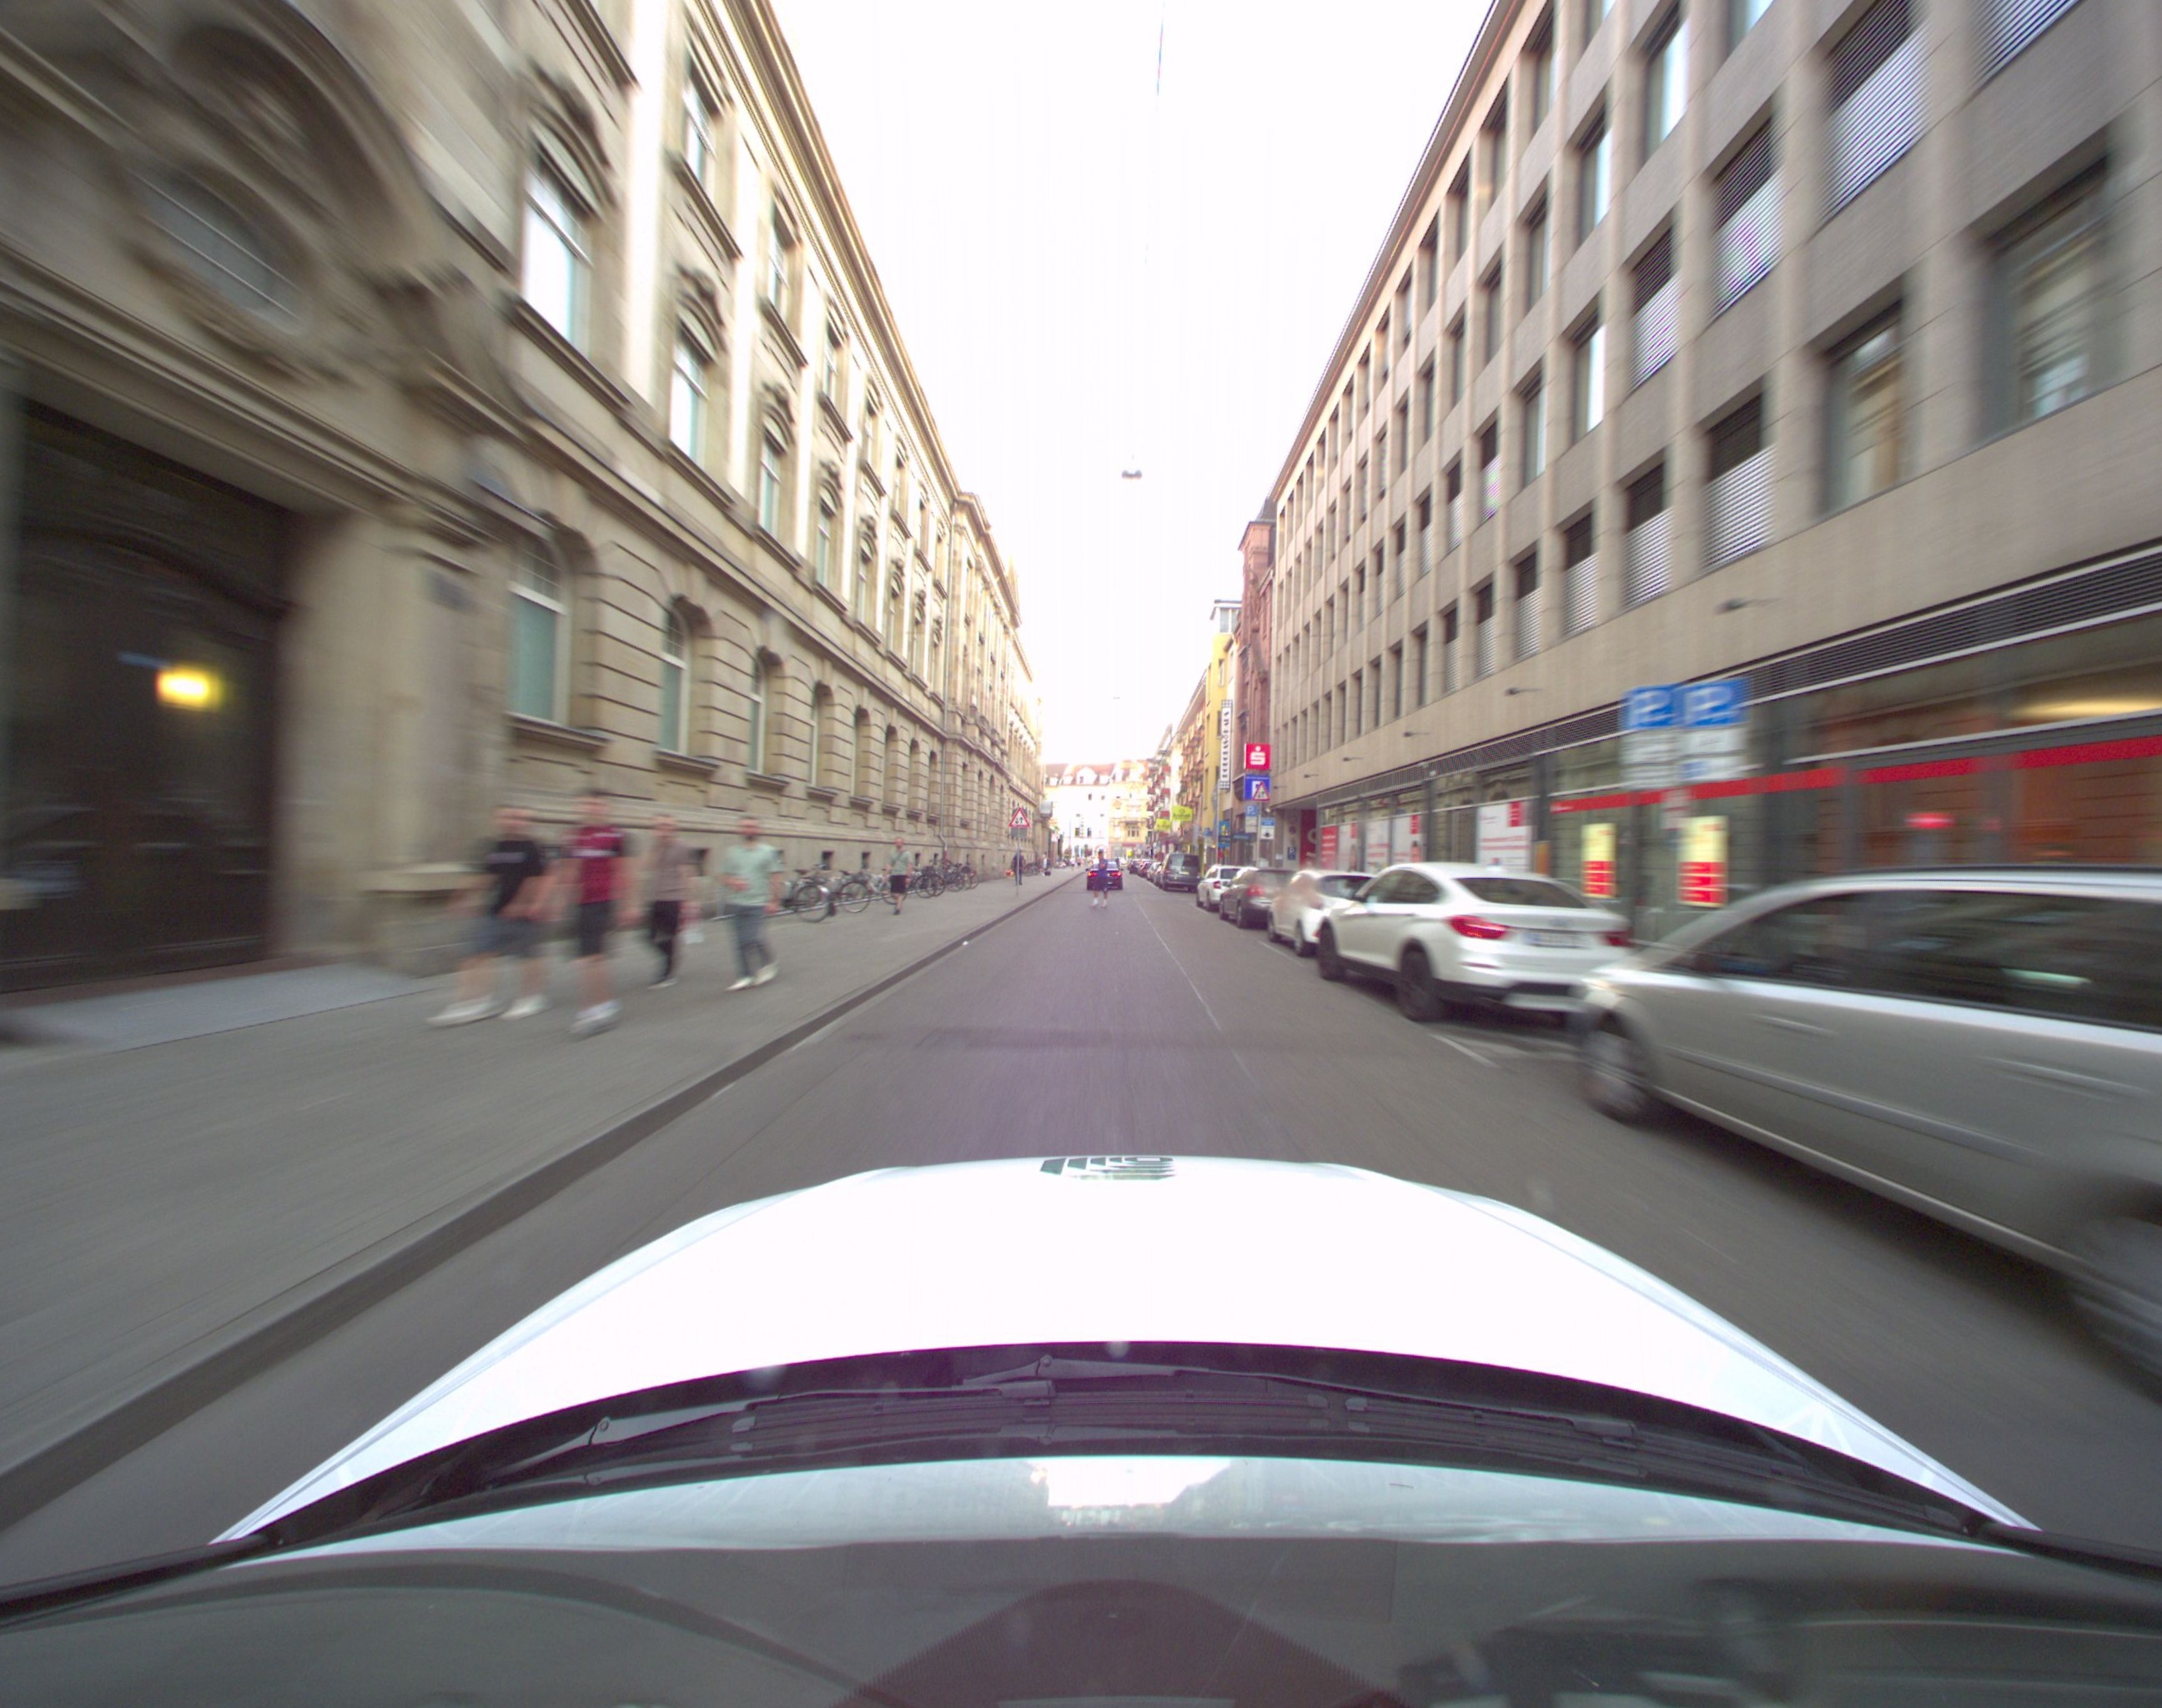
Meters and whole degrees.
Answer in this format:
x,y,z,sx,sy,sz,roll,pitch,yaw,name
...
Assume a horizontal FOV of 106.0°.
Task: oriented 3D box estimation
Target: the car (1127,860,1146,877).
x,y,z,sx,sy,sz,roll,pitch,yaw,name
6.029,1.534,88.062,1.785,1.610,4.494,4,0,6,car

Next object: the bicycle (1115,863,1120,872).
x,y,z,sx,sy,sz,roll,pitch,yaw,name
4.861,1.791,108.400,0.534,1.107,1.802,2,-1,4,bicycle

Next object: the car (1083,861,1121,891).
x,y,z,sx,sy,sz,roll,pitch,yaw,name
1.119,1.077,41.716,1.758,1.375,4.793,2,0,2,car

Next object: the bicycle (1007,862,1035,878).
x,y,z,sx,sy,sz,roll,pitch,yaw,name
-4.293,1.138,58.562,1.930,1.061,0.620,3,-1,0,bicycle

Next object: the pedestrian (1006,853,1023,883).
x,y,z,sx,sy,sz,roll,pitch,yaw,name
-3.952,0.823,48.681,0.825,1.746,0.769,4,0,2,pedestrian

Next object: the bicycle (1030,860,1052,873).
x,y,z,sx,sy,sz,roll,pitch,yaw,name
-3.821,1.207,77.952,1.939,1.061,0.617,5,-1,-14,bicycle

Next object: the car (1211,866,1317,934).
x,y,z,sx,sy,sz,roll,pitch,yaw,name
4.511,1.073,20.709,1.651,1.448,4.445,3,-1,0,car

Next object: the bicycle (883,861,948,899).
x,y,z,sx,sy,sz,roll,pitch,yaw,name
-5.334,0.838,26.313,1.934,1.078,0.729,4,-1,-6,bicycle

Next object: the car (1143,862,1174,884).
x,y,z,sx,sy,sz,roll,pitch,yaw,name
5.772,1.397,60.984,1.686,1.411,4.637,4,0,-1,car

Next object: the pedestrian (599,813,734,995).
x,y,z,sx,sy,sz,roll,pitch,yaw,name
-4.106,0.475,8.141,0.726,1.668,0.859,5,0,4,pedestrian

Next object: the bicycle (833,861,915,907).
x,y,z,sx,sy,sz,roll,pitch,yaw,name
-5.480,0.787,21.638,1.932,1.078,0.730,4,-1,-2,bicycle

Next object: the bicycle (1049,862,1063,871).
x,y,z,sx,sy,sz,roll,pitch,yaw,name
-3.254,1.663,106.372,1.787,1.107,0.500,2,-1,1,bicycle

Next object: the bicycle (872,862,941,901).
x,y,z,sx,sy,sz,roll,pitch,yaw,name
-5.356,0.843,25.124,1.934,1.078,0.729,4,-1,-6,bicycle

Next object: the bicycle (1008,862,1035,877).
x,y,z,sx,sy,sz,roll,pitch,yaw,name
-4.371,1.136,59.812,1.933,1.061,0.619,3,-1,-5,bicycle

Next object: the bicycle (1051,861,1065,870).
x,y,z,sx,sy,sz,roll,pitch,yaw,name
-3.115,1.534,108.895,1.786,1.107,0.501,2,-1,4,bicycle

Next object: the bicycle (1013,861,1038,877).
x,y,z,sx,sy,sz,roll,pitch,yaw,name
-4.212,1.155,62.029,1.791,1.108,0.499,3,-1,-5,bicycle

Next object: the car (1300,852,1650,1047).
x,y,z,sx,sy,sz,roll,pitch,yaw,name
4.174,0.886,9.679,1.770,1.666,4.811,3,-1,0,car

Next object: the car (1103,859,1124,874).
x,y,z,sx,sy,sz,roll,pitch,yaw,name
3.345,1.226,83.797,1.868,1.473,4.006,1,0,6,car

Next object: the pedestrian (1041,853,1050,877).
x,y,z,sx,sy,sz,roll,pitch,yaw,name
-2.778,0.850,63.399,0.587,1.851,0.753,3,-1,-4,pedestrian

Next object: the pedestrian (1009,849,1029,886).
x,y,z,sx,sy,sz,roll,pitch,yaw,name
-3.070,0.661,40.199,0.806,1.750,0.969,3,-1,2,pedestrian

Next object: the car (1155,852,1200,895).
x,y,z,sx,sy,sz,roll,pitch,yaw,name
5.119,1.026,43.616,1.840,2.058,5.055,3,-1,1,car

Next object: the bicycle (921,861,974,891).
x,y,z,sx,sy,sz,roll,pitch,yaw,name
-5.232,0.857,32.026,1.934,1.078,0.729,4,-1,-6,bicycle

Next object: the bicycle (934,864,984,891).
x,y,z,sx,sy,sz,roll,pitch,yaw,name
-5.113,0.971,34.209,1.930,1.046,0.721,3,0,-3,bicycle

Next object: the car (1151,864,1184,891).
x,y,z,sx,sy,sz,roll,pitch,yaw,name
5.339,1.404,50.701,1.680,1.453,4.501,4,0,3,car

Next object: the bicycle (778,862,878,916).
x,y,z,sx,sy,sz,roll,pitch,yaw,name
-5.625,0.783,18.183,2.024,1.078,0.726,4,-1,-18,bicycle

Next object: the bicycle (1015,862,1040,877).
x,y,z,sx,sy,sz,roll,pitch,yaw,name
-4.194,1.201,64.044,1.933,1.061,0.619,3,-1,-5,bicycle

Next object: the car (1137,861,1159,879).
x,y,z,sx,sy,sz,roll,pitch,yaw,name
6.046,1.462,73.838,1.685,1.414,4.759,4,0,2,car

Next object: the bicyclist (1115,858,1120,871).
x,y,z,sx,sy,sz,roll,pitch,yaw,name
4.876,1.408,108.410,0.521,1.756,0.620,2,-1,3,bicyclist

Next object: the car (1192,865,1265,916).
x,y,z,sx,sy,sz,roll,pitch,yaw,name
4.744,1.131,26.681,1.651,1.448,4.309,3,-1,1,car

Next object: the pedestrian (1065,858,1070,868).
x,y,z,sx,sy,sz,roll,pitch,yaw,name
-2.113,1.299,123.308,0.504,1.479,0.516,2,-1,25,pedestrian

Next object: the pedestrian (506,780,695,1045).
x,y,z,sx,sy,sz,roll,pitch,yaw,name
-3.639,0.415,6.247,0.712,1.830,0.872,5,0,9,pedestrian

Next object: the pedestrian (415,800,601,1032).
x,y,z,sx,sy,sz,roll,pitch,yaw,name
-4.441,0.453,6.360,0.752,1.642,0.750,5,0,9,pedestrian

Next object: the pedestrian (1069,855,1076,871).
x,y,z,sx,sy,sz,roll,pitch,yaw,name
-1.004,1.047,97.727,0.738,1.812,1.009,4,0,1,pedestrian

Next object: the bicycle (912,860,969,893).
x,y,z,sx,sy,sz,roll,pitch,yaw,name
-5.143,0.835,29.936,1.934,1.078,0.729,4,-1,-6,bicycle

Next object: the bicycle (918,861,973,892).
x,y,z,sx,sy,sz,roll,pitch,yaw,name
-5.187,0.850,31.253,1.934,1.078,0.729,4,-1,-6,bicycle

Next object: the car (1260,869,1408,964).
x,y,z,sx,sy,sz,roll,pitch,yaw,name
4.528,1.054,15.158,1.650,1.448,3.871,3,-1,2,car

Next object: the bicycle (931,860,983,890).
x,y,z,sx,sy,sz,roll,pitch,yaw,name
-5.061,0.852,33.289,1.930,1.078,0.748,3,-1,0,bicycle

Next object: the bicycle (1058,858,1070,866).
x,y,z,sx,sy,sz,roll,pitch,yaw,name
-2.624,1.276,126.458,1.790,1.107,0.499,3,-1,-4,bicycle

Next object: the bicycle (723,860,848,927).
x,y,z,sx,sy,sz,roll,pitch,yaw,name
-5.523,0.728,15.307,2.015,1.109,0.729,4,-1,-5,bicycle

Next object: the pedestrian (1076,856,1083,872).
x,y,z,sx,sy,sz,roll,pitch,yaw,name
-0.187,1.170,97.920,0.741,1.893,1.051,3,0,2,pedestrian

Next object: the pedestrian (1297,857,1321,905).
x,y,z,sx,sy,sz,roll,pitch,yaw,name
7.898,0.932,28.274,0.646,1.636,0.650,0,-1,0,pedestrian

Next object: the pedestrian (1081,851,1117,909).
x,y,z,sx,sy,sz,roll,pitch,yaw,name
0.567,0.802,25.747,0.825,1.789,0.769,1,-1,-40,pedestrian

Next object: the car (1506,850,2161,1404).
x,y,z,sx,sy,sz,roll,pitch,yaw,name
4.073,0.839,3.854,1.733,1.598,4.716,3,0,2,car

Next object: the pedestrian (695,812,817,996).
x,y,z,sx,sy,sz,roll,pitch,yaw,name
-3.315,0.489,8.381,0.722,1.742,0.840,5,0,4,pedestrian

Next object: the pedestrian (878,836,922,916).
x,y,z,sx,sy,sz,roll,pitch,yaw,name
-4.141,0.495,18.714,0.714,1.780,0.801,3,-1,2,pedestrian

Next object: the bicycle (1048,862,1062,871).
x,y,z,sx,sy,sz,roll,pitch,yaw,name
-3.371,1.665,106.721,1.788,1.107,0.500,2,-1,0,bicycle

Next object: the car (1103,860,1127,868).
x,y,z,sx,sy,sz,roll,pitch,yaw,name
6.698,1.943,161.689,4.313,1.562,1.879,1,-1,24,car

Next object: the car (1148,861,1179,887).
x,y,z,sx,sy,sz,roll,pitch,yaw,name
5.612,1.339,55.813,1.613,1.516,4.174,4,0,1,car
